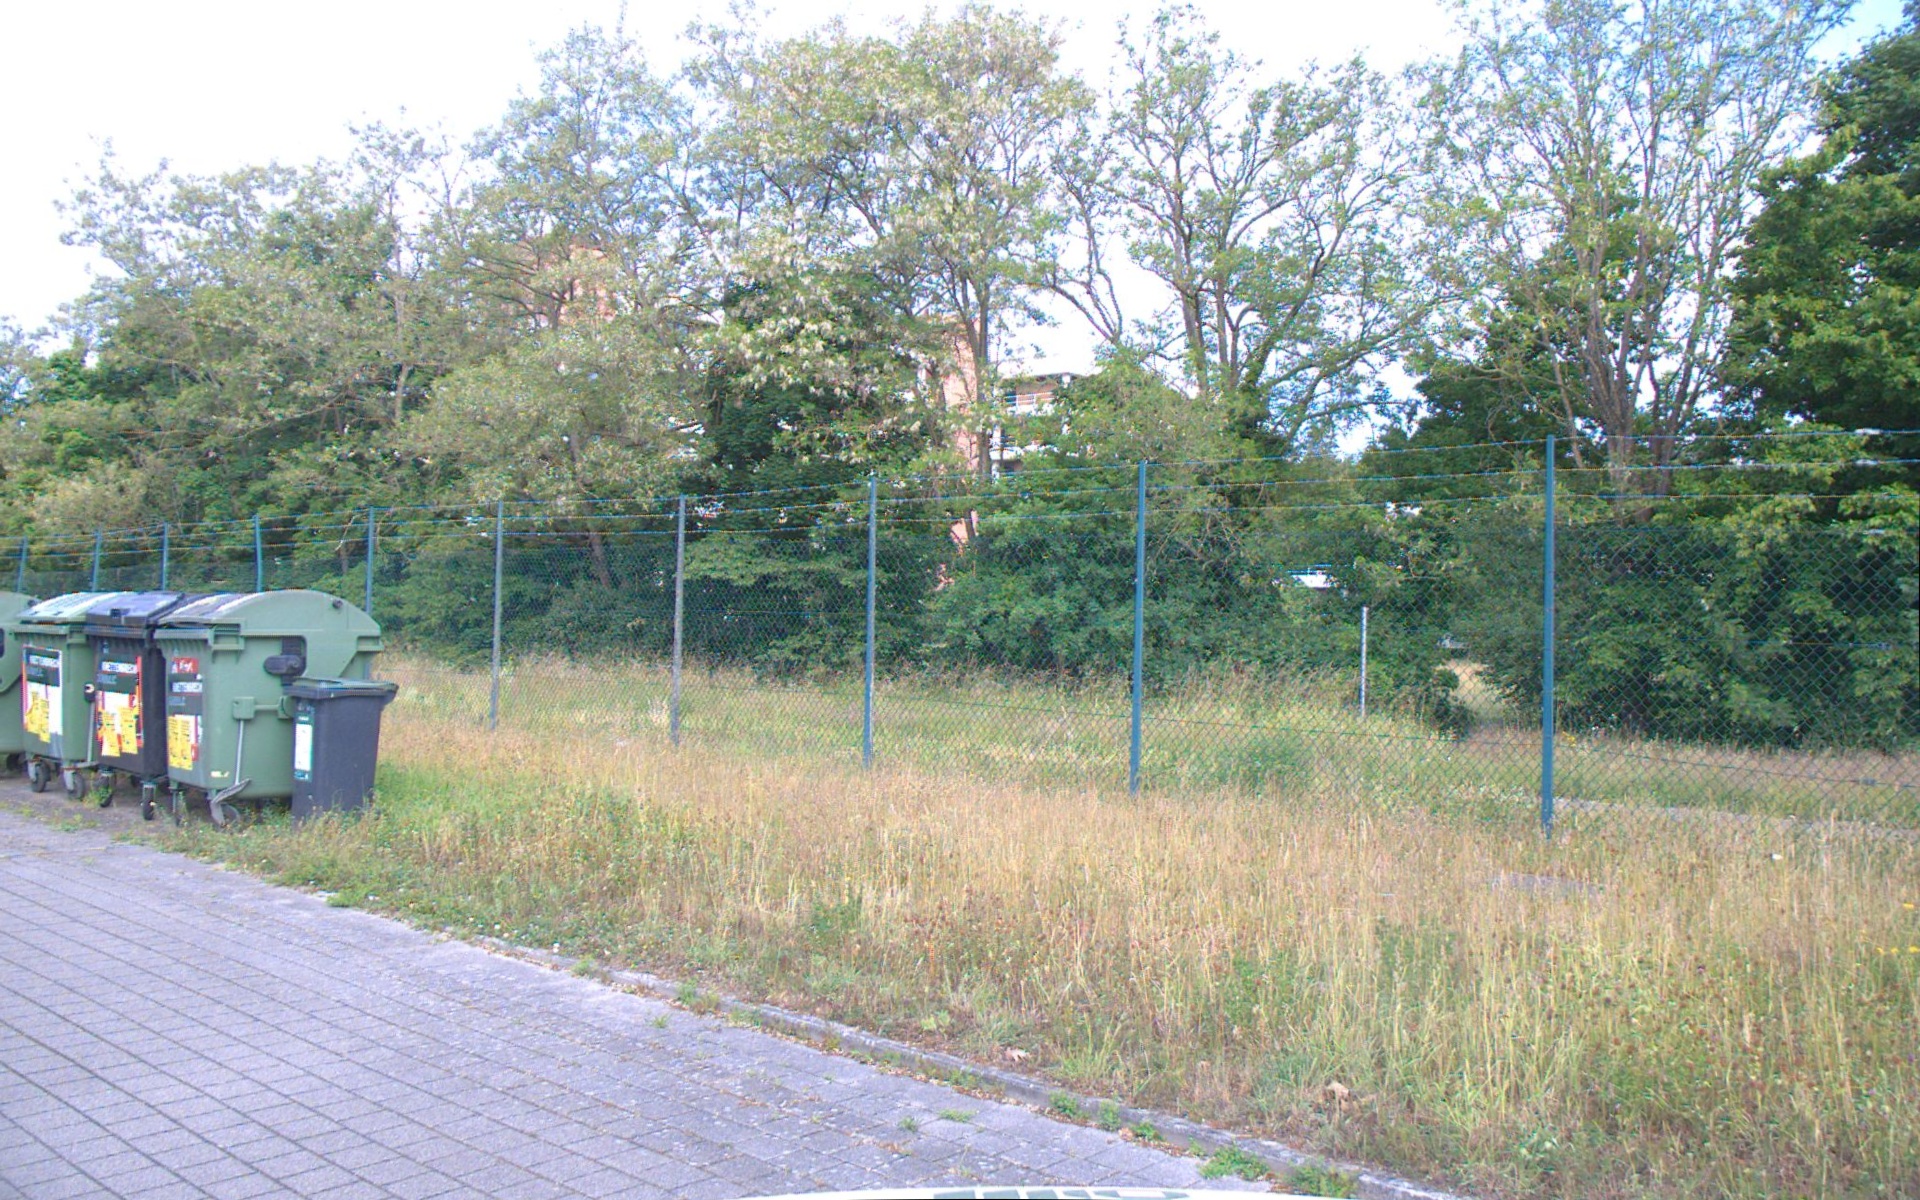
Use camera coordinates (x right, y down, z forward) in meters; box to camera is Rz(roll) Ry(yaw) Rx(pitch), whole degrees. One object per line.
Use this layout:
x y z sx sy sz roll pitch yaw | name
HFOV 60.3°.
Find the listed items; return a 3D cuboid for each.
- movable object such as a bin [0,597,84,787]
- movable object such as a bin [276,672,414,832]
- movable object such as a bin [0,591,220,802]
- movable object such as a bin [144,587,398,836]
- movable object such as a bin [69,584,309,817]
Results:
-7.599 0.697 12.930 1.114 1.423 1.367 2 -2 -37 | movable object such as a bin
-3.596 0.870 9.669 0.596 0.881 0.577 2 -2 -39 | movable object such as a bin
-6.239 0.677 12.112 1.065 1.430 1.362 2 -2 -45 | movable object such as a bin
-4.306 0.657 10.311 1.121 1.420 1.337 2 -2 -39 | movable object such as a bin
-5.252 0.655 11.252 1.065 1.460 1.375 2 -2 -45 | movable object such as a bin
